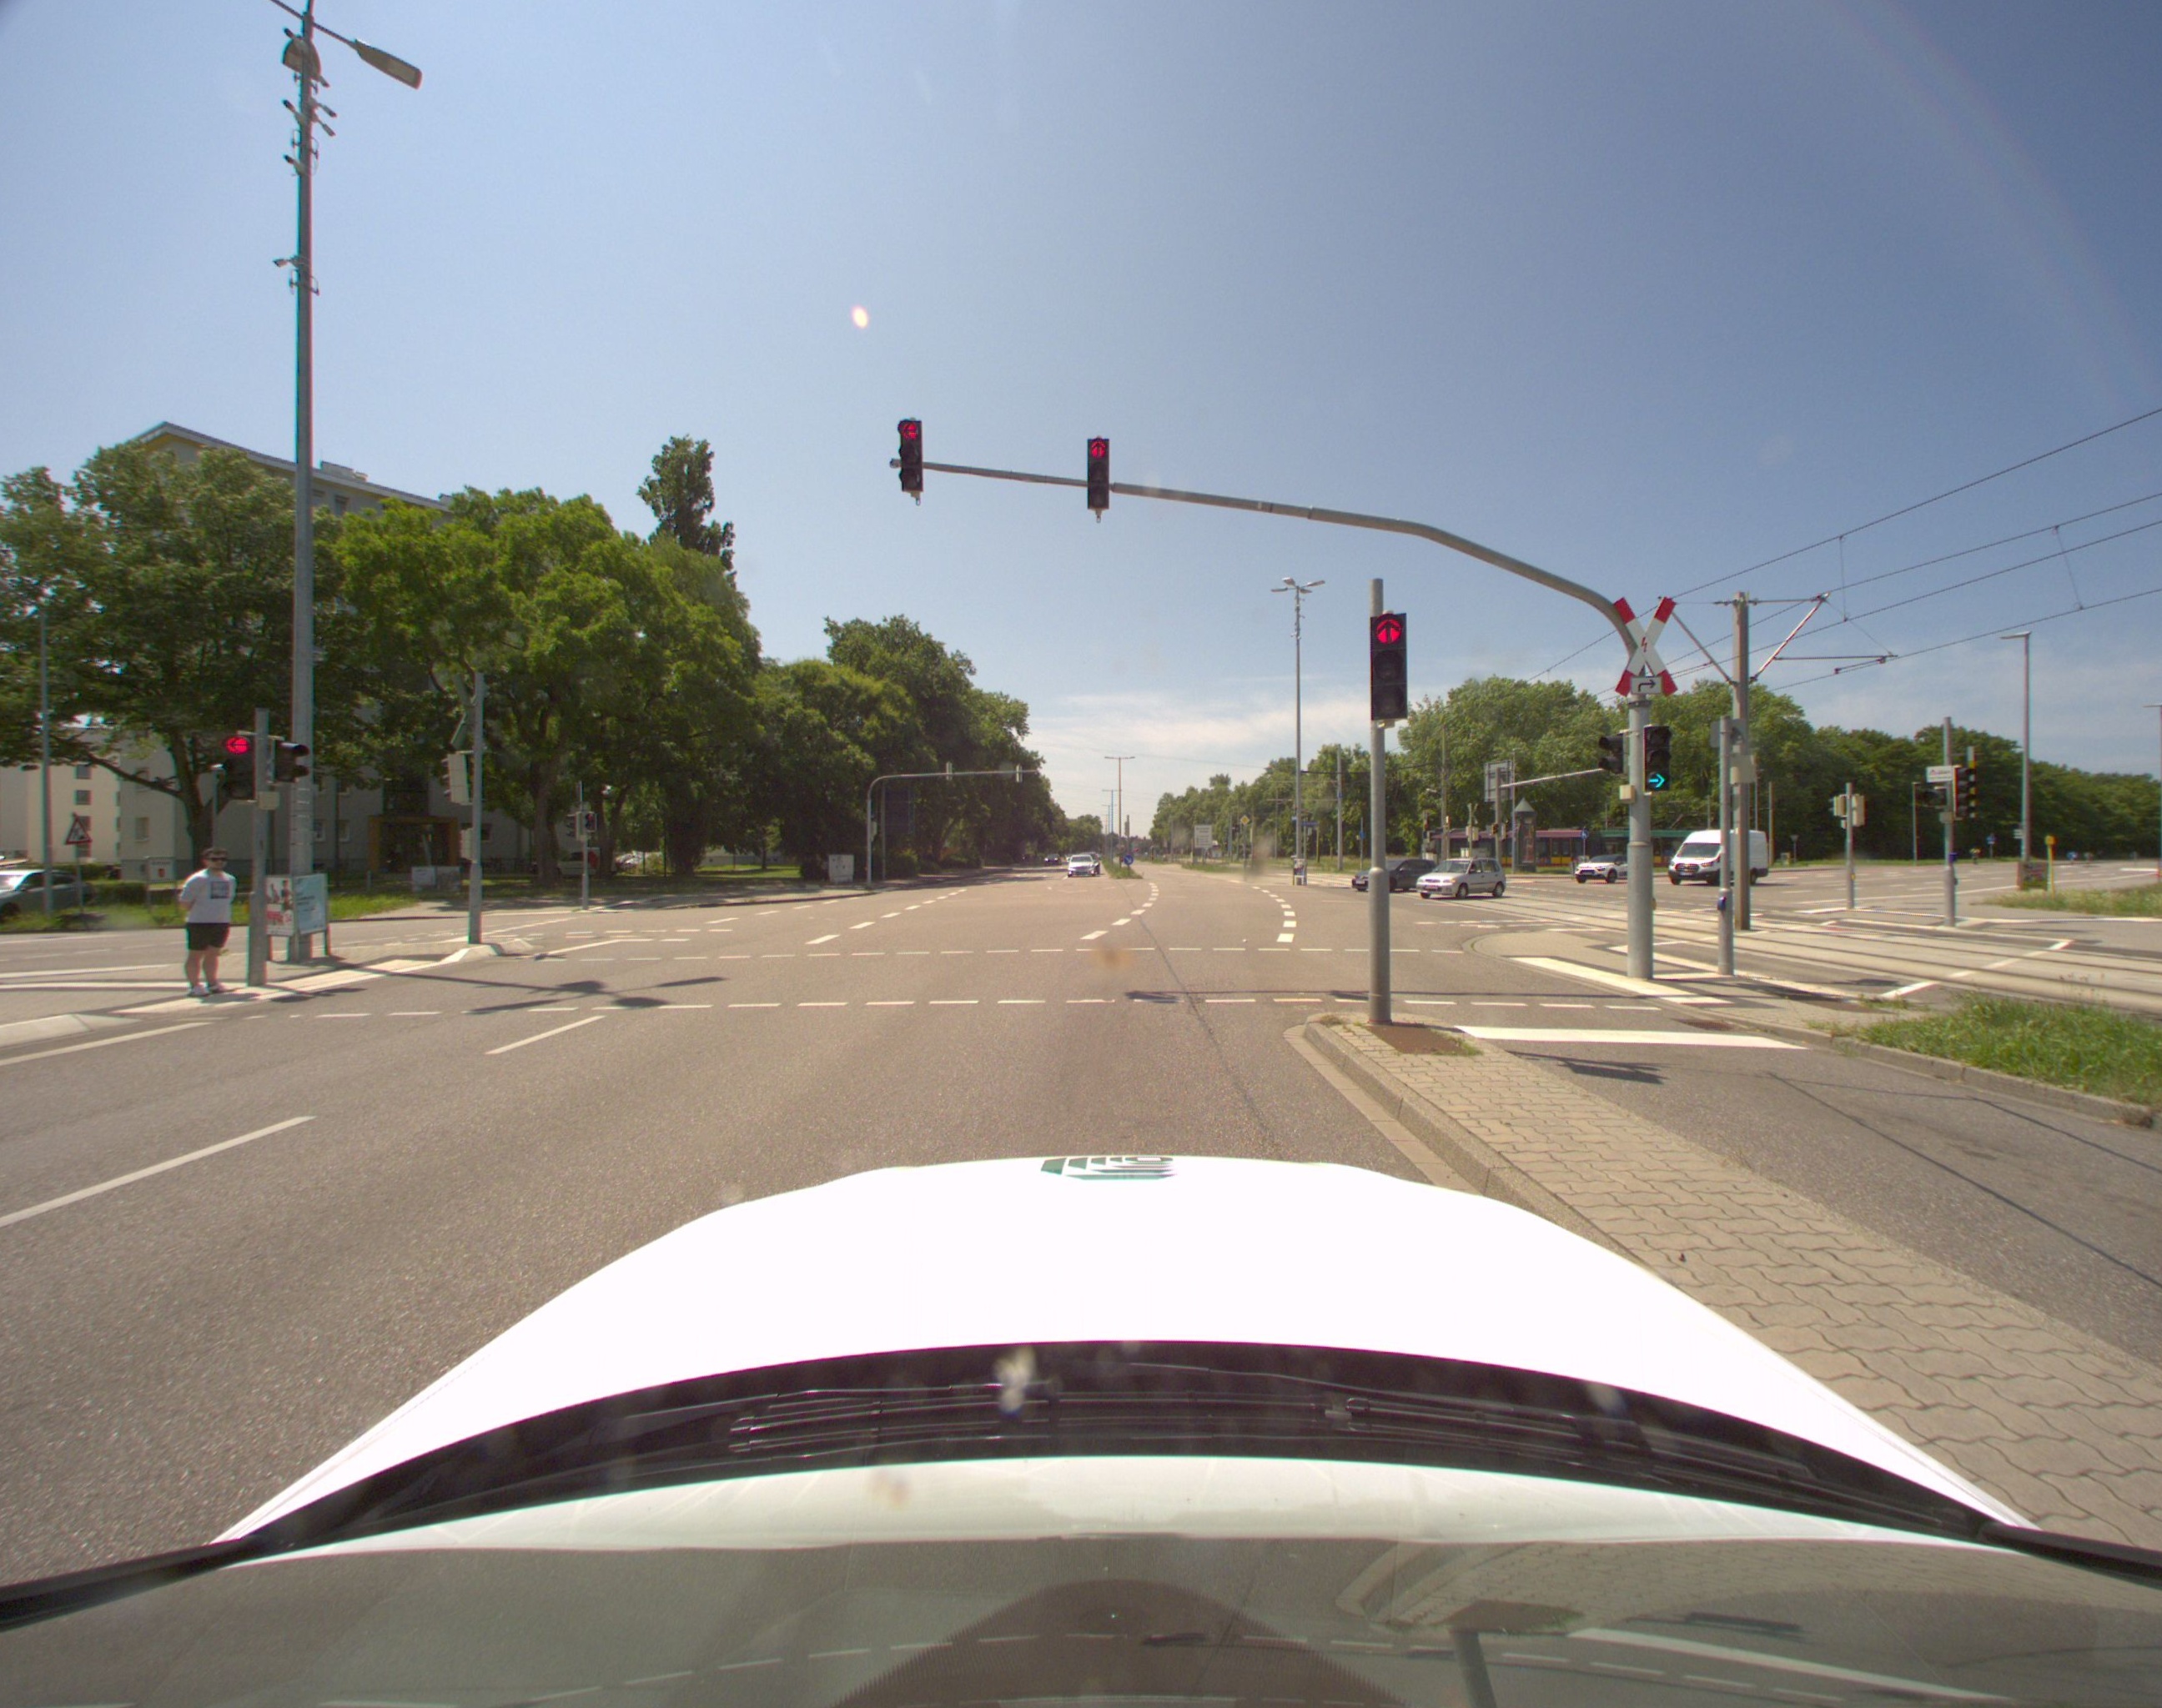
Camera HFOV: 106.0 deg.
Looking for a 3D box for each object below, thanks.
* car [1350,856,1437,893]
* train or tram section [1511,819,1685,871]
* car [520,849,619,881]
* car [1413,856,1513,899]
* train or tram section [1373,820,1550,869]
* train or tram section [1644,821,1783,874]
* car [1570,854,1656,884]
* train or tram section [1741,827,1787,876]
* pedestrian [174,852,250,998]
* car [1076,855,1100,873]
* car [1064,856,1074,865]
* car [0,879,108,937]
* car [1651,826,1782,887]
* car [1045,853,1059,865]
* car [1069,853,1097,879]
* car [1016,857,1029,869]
[{"bbox_3d":[13.286,0.821,34.625,3.519,1.463,1.624,0,0,-30],"label":"car"},{"bbox_3d":[42.100,-0.671,66.396,13.408,3.812,2.914,1,-3,-9],"label":"train or tram section"},{"bbox_3d":[-29.670,0.628,47.354,1.769,1.768,4.577,0,0,41],"label":"car"},{"bbox_3d":[14.141,0.830,30.076,3.821,1.463,1.623,0,0,-34],"label":"car"},{"bbox_3d":[31.127,-0.715,67.274,12.936,3.812,2.935,0,-3,15],"label":"train or tram section"},{"bbox_3d":[54.483,-0.440,69.959,14.055,3.920,2.901,2,-3,-23],"label":"train or tram section"},{"bbox_3d":[27.442,0.724,41.988,4.501,1.463,1.626,0,0,-26],"label":"car"},{"bbox_3d":[64.903,-0.010,77.240,2.886,3.920,14.047,-2,-4,41],"label":"train or tram section"},{"bbox_3d":[-10.293,0.815,9.655,0.381,1.687,0.485,0,0,-2],"label":"pedestrian"},{"bbox_3d":[0.544,0.731,61.702,1.704,1.365,3.867,0,0,2],"label":"car"},{"bbox_3d":[-2.085,1.162,143.929,1.665,1.490,3.712,0,0,2],"label":"car"},{"bbox_3d":[-29.172,1.447,22.167,1.629,1.380,3.973,1,0,-20],"label":"car"},{"bbox_3d":[31.870,0.101,40.785,7.306,2.802,2.691,0,0,-31],"label":"car"},{"bbox_3d":[-3.813,0.658,108.382,1.665,1.490,3.712,0,0,2],"label":"car"},{"bbox_3d":[0.158,0.769,54.359,1.778,1.629,3.867,0,0,2],"label":"car"},{"bbox_3d":[-10.376,1.540,145.197,1.988,2.014,3.997,3,-1,-2],"label":"car"}]
